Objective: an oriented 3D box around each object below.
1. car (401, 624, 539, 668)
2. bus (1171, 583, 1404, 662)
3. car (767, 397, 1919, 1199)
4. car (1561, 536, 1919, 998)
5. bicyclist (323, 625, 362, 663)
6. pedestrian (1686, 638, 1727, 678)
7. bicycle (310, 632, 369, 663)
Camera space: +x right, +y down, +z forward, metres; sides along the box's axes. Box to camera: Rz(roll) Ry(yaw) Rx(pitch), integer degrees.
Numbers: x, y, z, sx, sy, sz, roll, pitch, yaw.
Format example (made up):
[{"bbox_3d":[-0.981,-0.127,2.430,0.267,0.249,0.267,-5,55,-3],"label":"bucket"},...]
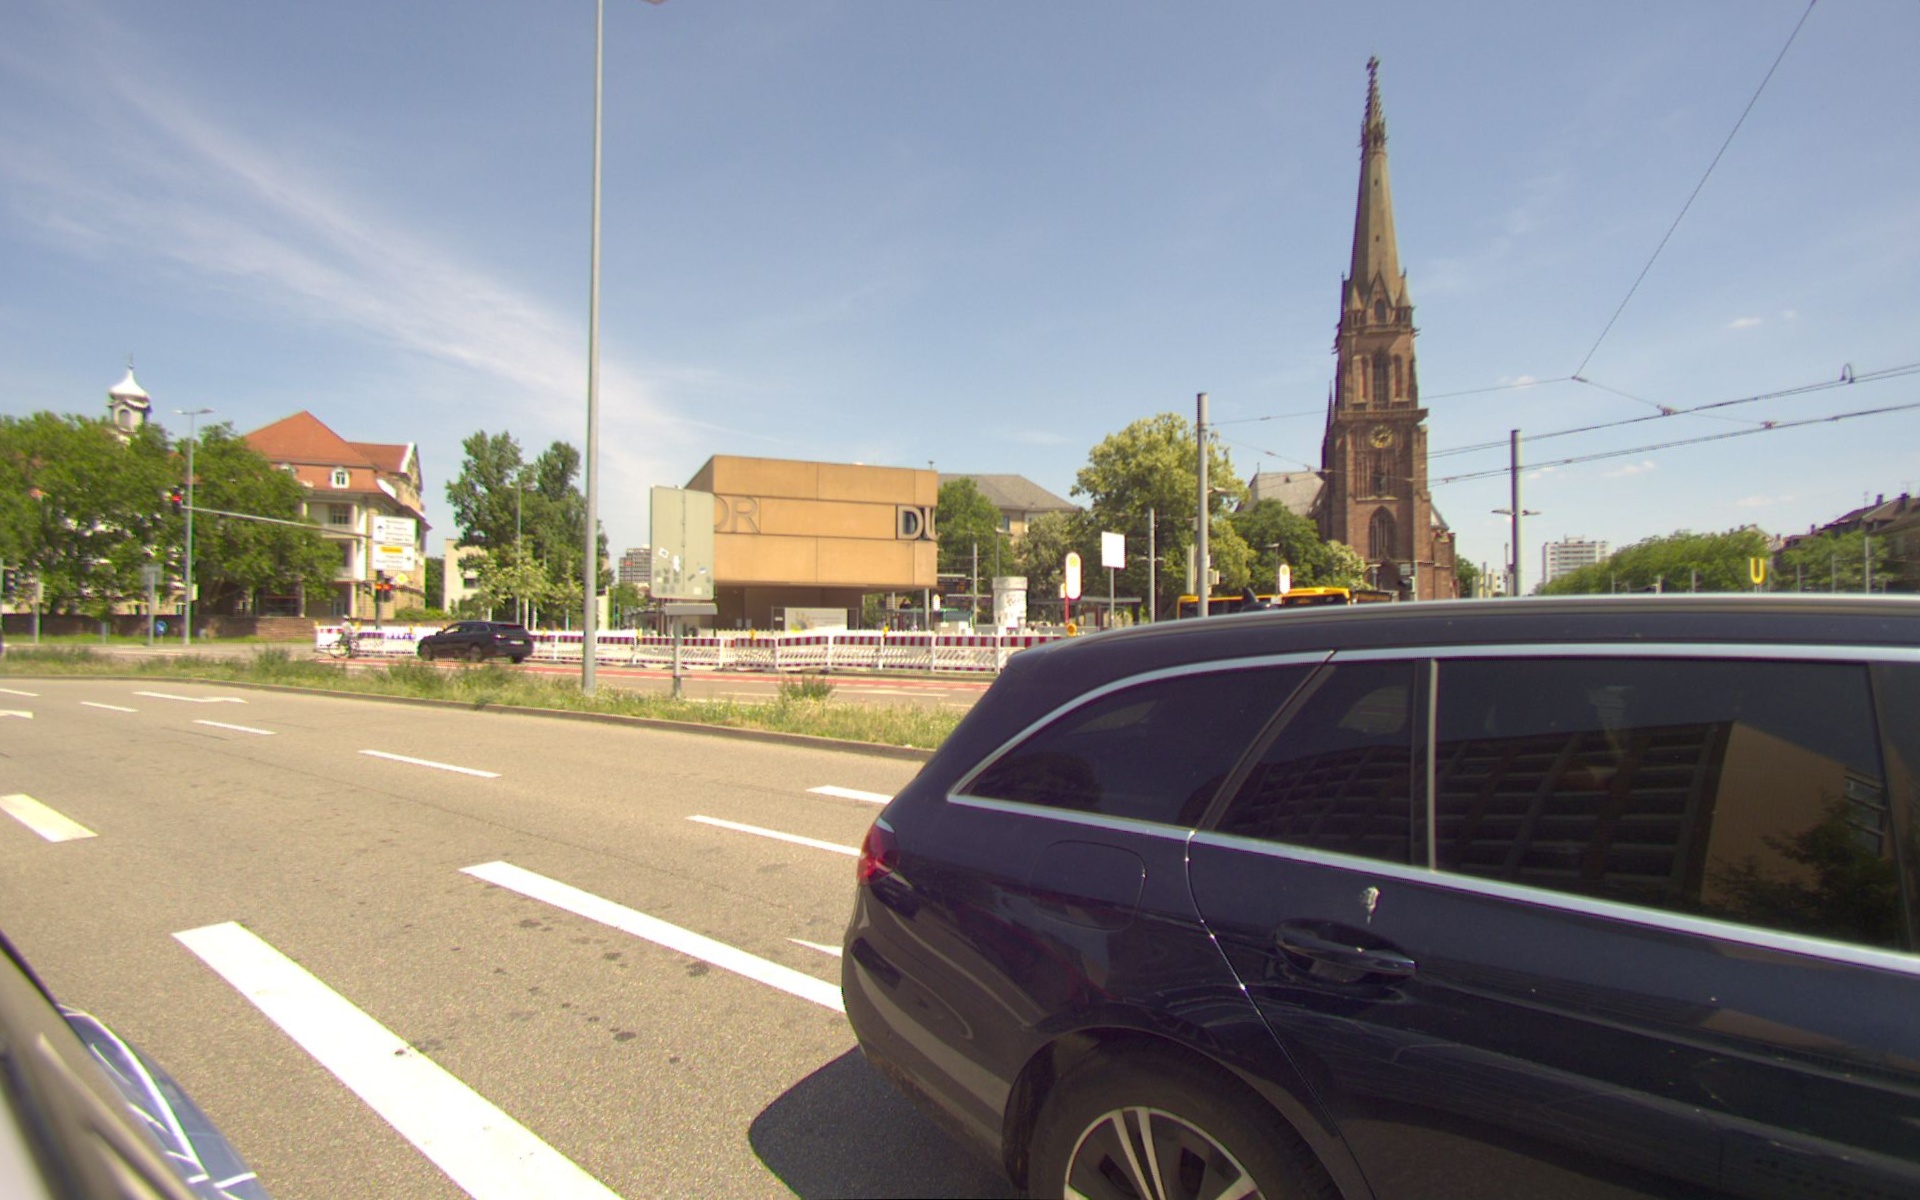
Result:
[{"bbox_3d":[-17.363,1.595,35.822,4.825,1.476,1.980,-1,-2,29],"label":"car"},{"bbox_3d":[14.022,1.055,45.218,2.807,3.039,12.259,1,-2,-21],"label":"bus"},{"bbox_3d":[1.919,0.601,1.445,4.803,1.653,1.778,-2,-1,42],"label":"car"},{"bbox_3d":[4.469,0.578,3.599,3.736,1.588,1.725,-2,-3,42],"label":"car"},{"bbox_3d":[-23.239,1.644,38.113,1.432,1.366,0.581,-1,0,27],"label":"bicyclist"},{"bbox_3d":[25.296,1.946,34.303,0.518,1.344,1.001,1,-2,-17],"label":"pedestrian"},{"bbox_3d":[-23.397,1.777,38.158,2.220,1.080,0.871,-1,0,27],"label":"bicycle"}]
